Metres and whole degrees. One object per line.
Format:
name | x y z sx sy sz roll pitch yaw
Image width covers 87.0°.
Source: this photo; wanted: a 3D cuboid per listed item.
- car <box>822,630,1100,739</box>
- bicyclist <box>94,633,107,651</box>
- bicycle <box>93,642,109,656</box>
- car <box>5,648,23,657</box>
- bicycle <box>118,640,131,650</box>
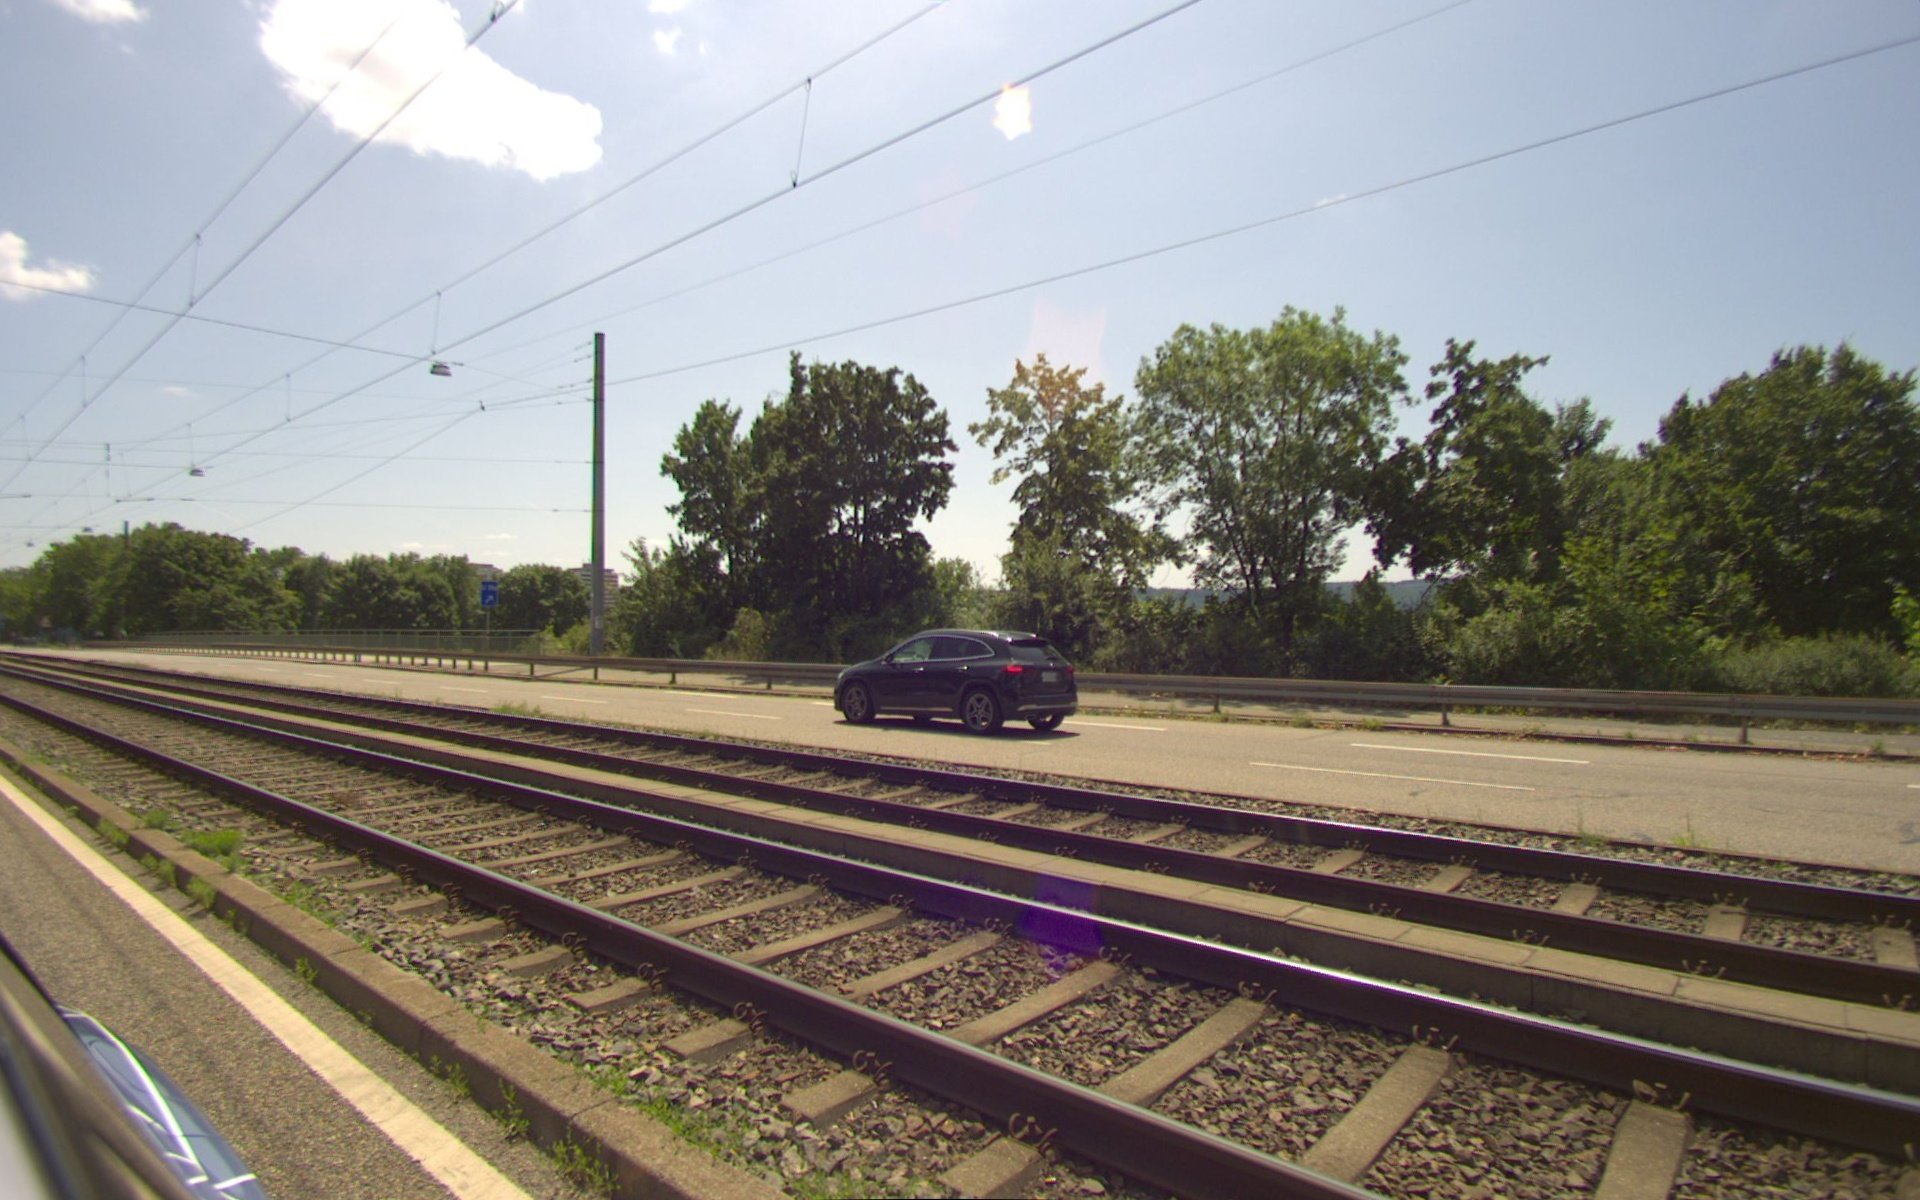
car | -0.088 1.272 16.398 4.425 1.526 1.798 -2 -3 41
bicyclist | -79.488 3.850 93.577 0.837 1.634 0.755 -2 -1 41
bicycle | -79.520 4.533 93.696 2.061 1.194 0.848 -2 -1 41
car | -142.536 7.870 152.512 3.927 1.357 1.546 -2 -3 42
bicycle | -70.803 3.803 85.735 2.034 0.849 0.517 -3 -1 40
